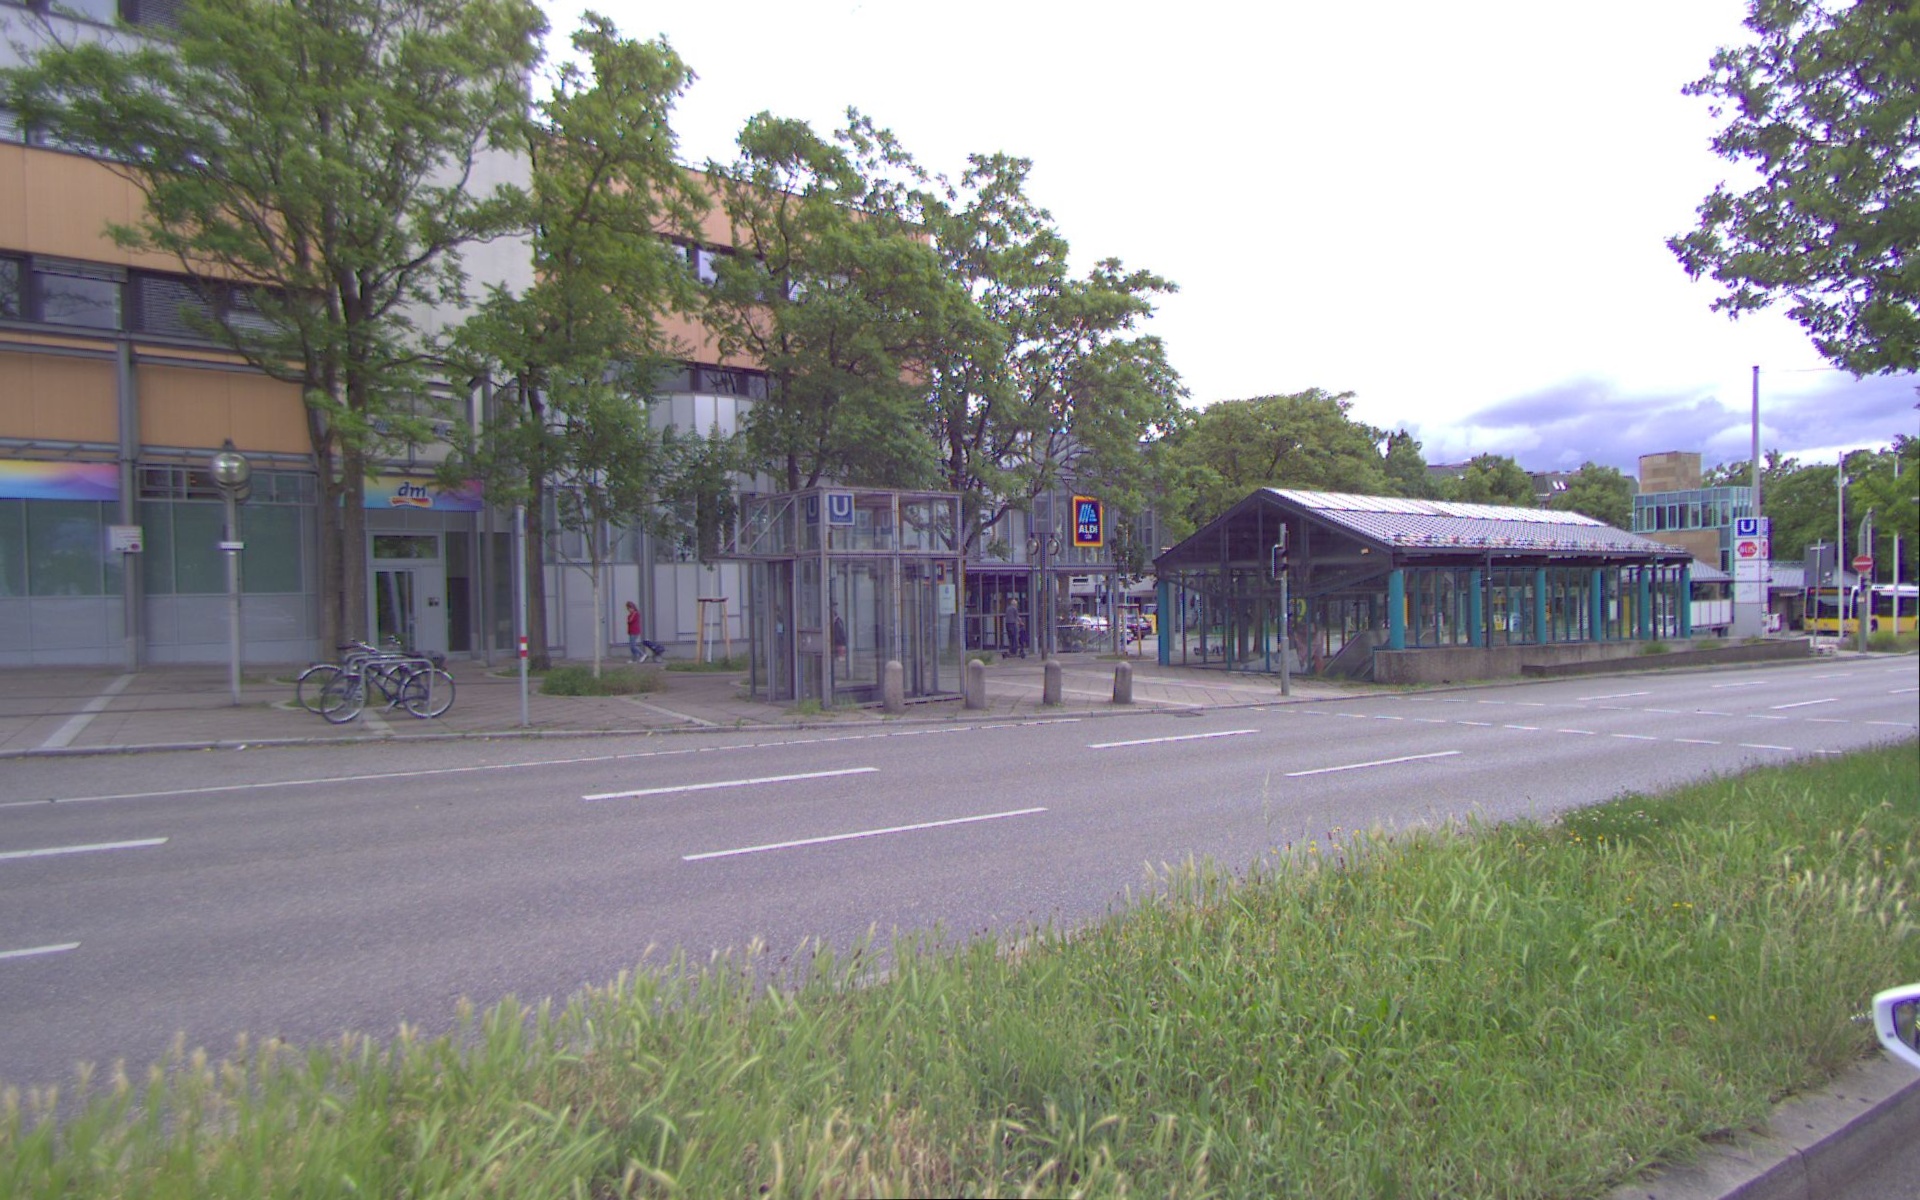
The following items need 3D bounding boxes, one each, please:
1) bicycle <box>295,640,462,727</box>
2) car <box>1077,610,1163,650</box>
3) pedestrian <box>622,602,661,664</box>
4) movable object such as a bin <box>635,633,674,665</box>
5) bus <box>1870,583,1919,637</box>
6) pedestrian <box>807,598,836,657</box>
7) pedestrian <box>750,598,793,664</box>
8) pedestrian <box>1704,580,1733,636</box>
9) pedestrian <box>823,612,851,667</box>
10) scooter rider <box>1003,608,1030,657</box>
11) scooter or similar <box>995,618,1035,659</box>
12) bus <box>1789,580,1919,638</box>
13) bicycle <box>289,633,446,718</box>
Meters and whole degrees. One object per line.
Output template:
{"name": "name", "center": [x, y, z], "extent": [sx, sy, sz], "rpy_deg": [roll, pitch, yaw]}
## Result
{"name": "bicycle", "center": [-8.229, 1.143, 14.259], "extent": [1.923, 1.098, 0.822], "rpy_deg": [0, 0, -44]}
{"name": "car", "center": [7.788, 1.425, 49.204], "extent": [1.980, 1.862, 3.962], "rpy_deg": [0, -1, -34]}
{"name": "pedestrian", "center": [-8.334, 0.859, 26.289], "extent": [0.819, 1.607, 0.629], "rpy_deg": [1, -1, -40]}
{"name": "movable object such as a bin", "center": [-8.074, 1.290, 26.520], "extent": [0.819, 0.799, 0.629], "rpy_deg": [1, -1, -40]}
{"name": "bus", "center": [65.438, 0.702, 67.392], "extent": [10.590, 3.476, 2.823], "rpy_deg": [1, -1, -26]}
{"name": "pedestrian", "center": [-4.174, 0.818, 30.272], "extent": [0.674, 1.750, 0.560], "rpy_deg": [0, 0, -38]}
{"name": "pedestrian", "center": [-5.145, 0.829, 27.402], "extent": [0.879, 1.739, 0.764], "rpy_deg": [0, 2, -39]}
{"name": "pedestrian", "center": [27.860, 0.307, 36.898], "extent": [0.639, 2.040, 0.677], "rpy_deg": [0, -1, -34]}
{"name": "pedestrian", "center": [-3.661, 1.176, 29.906], "extent": [0.674, 1.610, 0.513], "rpy_deg": [0, 0, -38]}
{"name": "scooter rider", "center": [1.831, 1.043, 32.575], "extent": [0.700, 1.566, 0.521], "rpy_deg": [0, 2, -38]}
{"name": "scooter or similar", "center": [1.780, 1.240, 32.554], "extent": [1.277, 1.284, 0.476], "rpy_deg": [0, 2, -39]}
{"name": "bus", "center": [56.459, 0.596, 62.964], "extent": [10.590, 3.476, 2.823], "rpy_deg": [1, -1, -26]}
{"name": "bicycle", "center": [-8.895, 1.096, 15.138], "extent": [0.706, 1.152, 1.944], "rpy_deg": [0, 0, 45]}
